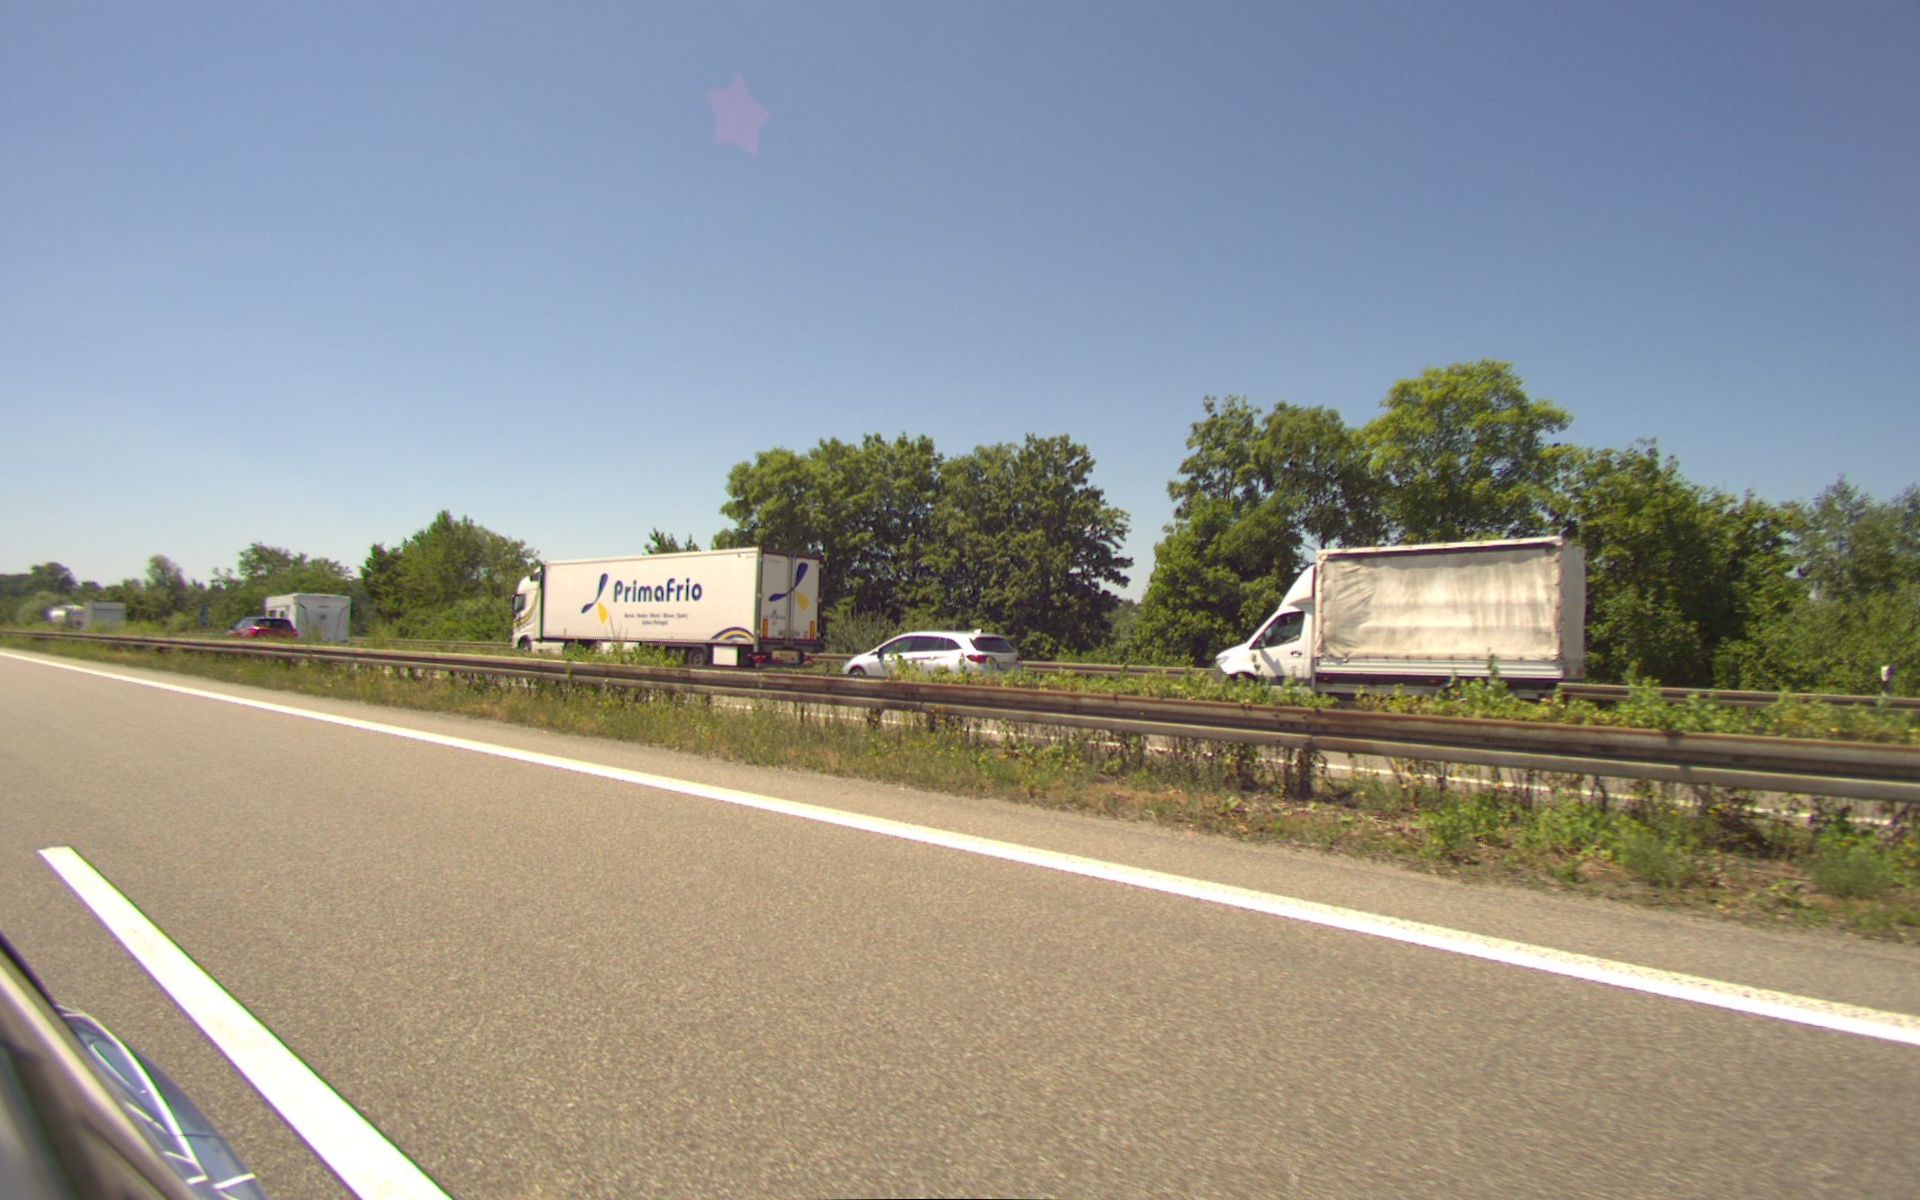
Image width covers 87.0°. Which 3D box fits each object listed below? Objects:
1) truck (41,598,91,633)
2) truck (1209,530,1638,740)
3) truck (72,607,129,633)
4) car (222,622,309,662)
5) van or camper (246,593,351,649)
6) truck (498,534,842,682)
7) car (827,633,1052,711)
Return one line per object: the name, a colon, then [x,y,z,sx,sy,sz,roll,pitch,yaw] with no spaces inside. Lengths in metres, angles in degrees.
truck: [-110.738,1.970,125.273,15.930,4.084,2.700,-1,-2,42]
truck: [8.877,0.659,20.132,7.419,3.491,2.344,-1,-2,41]
truck: [-71.786,1.719,84.457,7.136,2.083,2.699,-1,-3,43]
car: [-28.333,1.684,41.259,3.998,1.530,1.973,-1,-2,41]
van or camper: [-33.352,1.090,50.883,7.805,2.579,2.442,-1,-3,42]
truck: [-11.442,0.467,37.336,17.183,4.411,3.182,-1,-5,41]
car: [-0.549,1.496,22.378,4.943,1.495,1.973,-1,-2,41]
